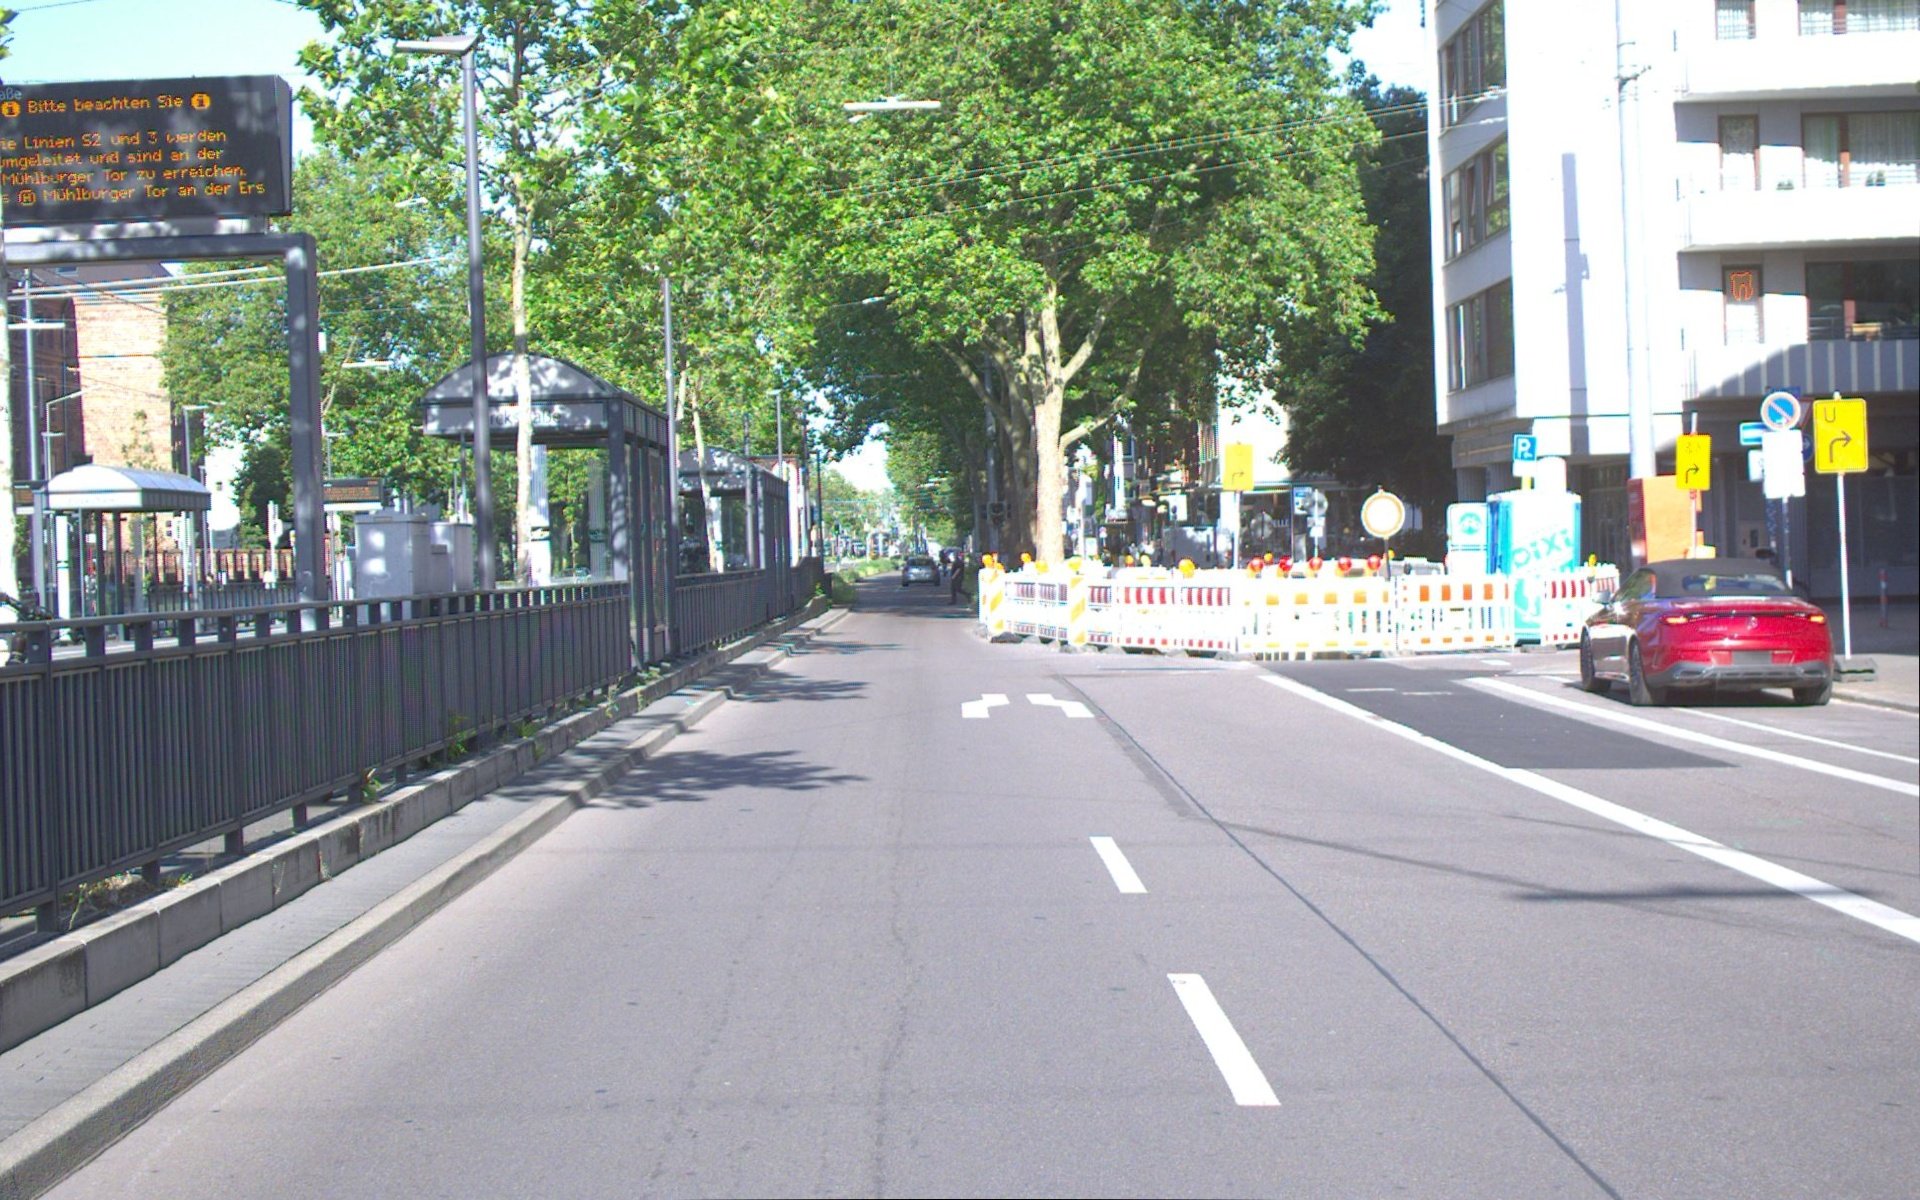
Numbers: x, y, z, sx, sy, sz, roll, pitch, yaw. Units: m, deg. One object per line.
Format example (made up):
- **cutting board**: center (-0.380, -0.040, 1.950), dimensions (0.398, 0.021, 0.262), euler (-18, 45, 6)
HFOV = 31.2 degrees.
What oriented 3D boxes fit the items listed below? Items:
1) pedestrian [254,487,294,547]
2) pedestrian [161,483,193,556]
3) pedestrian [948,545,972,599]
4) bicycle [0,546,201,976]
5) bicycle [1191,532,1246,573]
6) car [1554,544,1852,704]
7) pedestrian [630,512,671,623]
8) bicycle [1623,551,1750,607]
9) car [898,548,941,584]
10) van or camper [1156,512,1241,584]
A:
- **pedestrian**: center (-19.848, -2.401, 99.492), dimensions (0.953, 1.730, 0.730), euler (-1, 1, 2)
- **pedestrian**: center (-21.741, -2.242, 95.471), dimensions (0.662, 2.007, 0.860), euler (-2, 1, -1)
- **pedestrian**: center (0.003, -0.874, 107.579), dimensions (0.712, 1.674, 0.772), euler (-1, 1, -2)
- **bicycle**: center (-3.258, 0.506, 12.116), dimensions (0.639, 1.374, 2.169), euler (-1, 1, 0)
- **bicycle**: center (8.227, -1.519, 109.394), dimensions (1.603, 1.259, 0.963), euler (-1, 1, -5)
- **car**: center (7.319, 0.183, 34.381), dimensions (1.872, 1.438, 5.159), euler (-1, 1, 0)
- **pedestrian**: center (-5.648, -0.595, 62.694), dimensions (0.667, 2.007, 0.716), euler (-1, 1, -2)
- **bicycle**: center (12.543, -0.364, 59.347), dimensions (2.030, 0.940, 1.016), euler (-1, 1, 19)
- **car**: center (-1.944, -1.642, 165.312), dimensions (2.021, 1.656, 4.000), euler (-1, 1, -1)
- **van or camper**: center (7.812, -1.703, 113.231), dimensions (2.291, 2.279, 5.823), euler (-1, 1, -1)
